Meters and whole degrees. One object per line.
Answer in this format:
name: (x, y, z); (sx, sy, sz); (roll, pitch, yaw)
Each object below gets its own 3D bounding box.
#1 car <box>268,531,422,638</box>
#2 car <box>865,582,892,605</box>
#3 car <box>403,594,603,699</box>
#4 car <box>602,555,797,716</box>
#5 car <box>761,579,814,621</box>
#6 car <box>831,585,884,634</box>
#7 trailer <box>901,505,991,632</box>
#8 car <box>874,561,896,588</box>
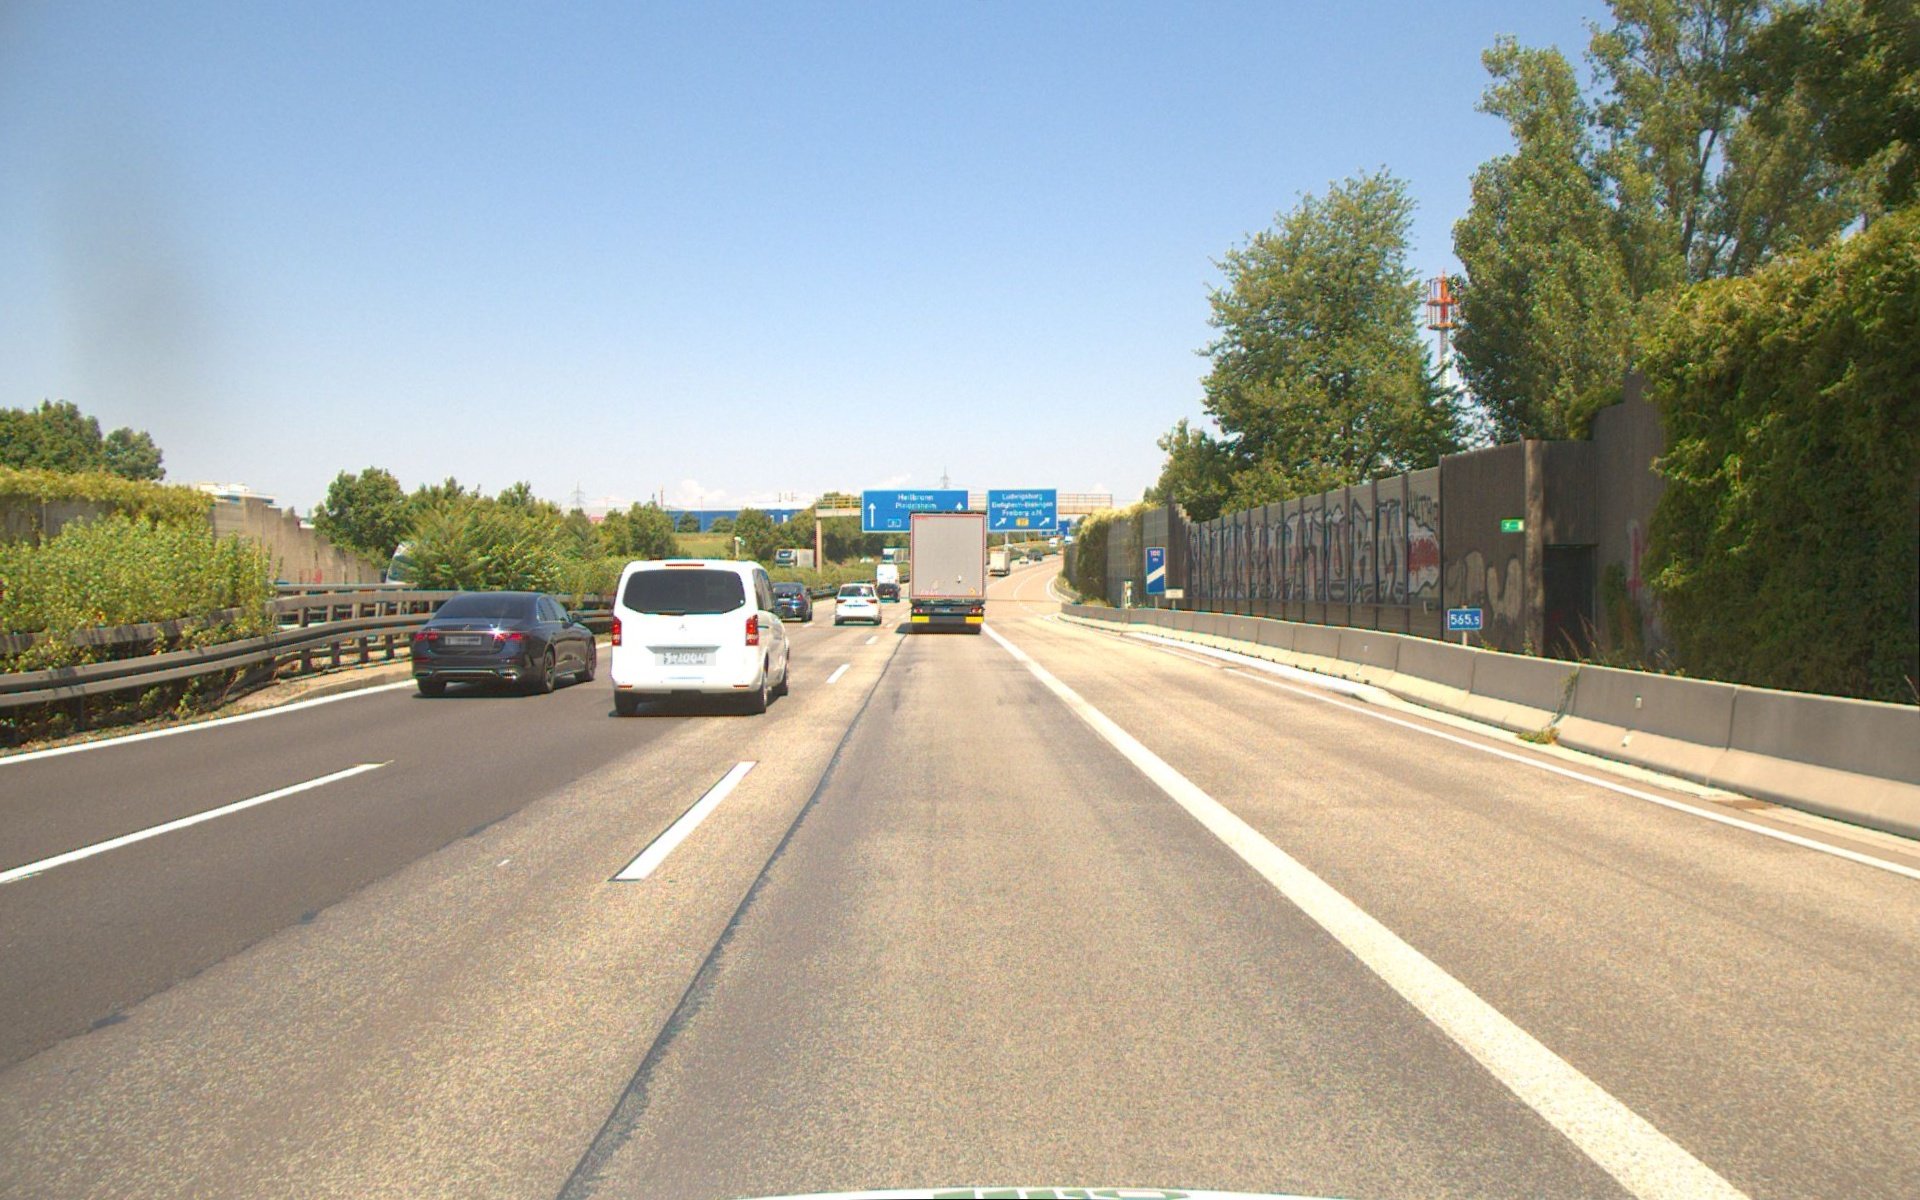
car: (-17.172, -0.418, 46.543); (2.195, 2.806, 6.218); (0, 0, -2)
car: (-6.150, -0.469, 124.670); (1.866, 1.718, 4.630); (0, 0, -1)
car: (-6.801, 0.625, 25.172); (1.721, 1.433, 5.038); (0, 0, -1)
car: (-3.295, 0.413, 21.788); (1.891, 1.884, 4.691); (0, 0, -1)
car: (-7.311, -0.001, 70.416); (1.866, 1.718, 4.630); (0, 0, -1)
car: (-4.062, 0.377, 66.168); (1.866, 1.884, 4.630); (0, 0, -1)
trailer: (-0.461, -1.047, 59.566); (2.868, 4.085, 12.037); (0, 0, 0)
car: (-7.154, -2.443, 158.397); (1.953, 2.416, 3.999); (1, -1, -1)
